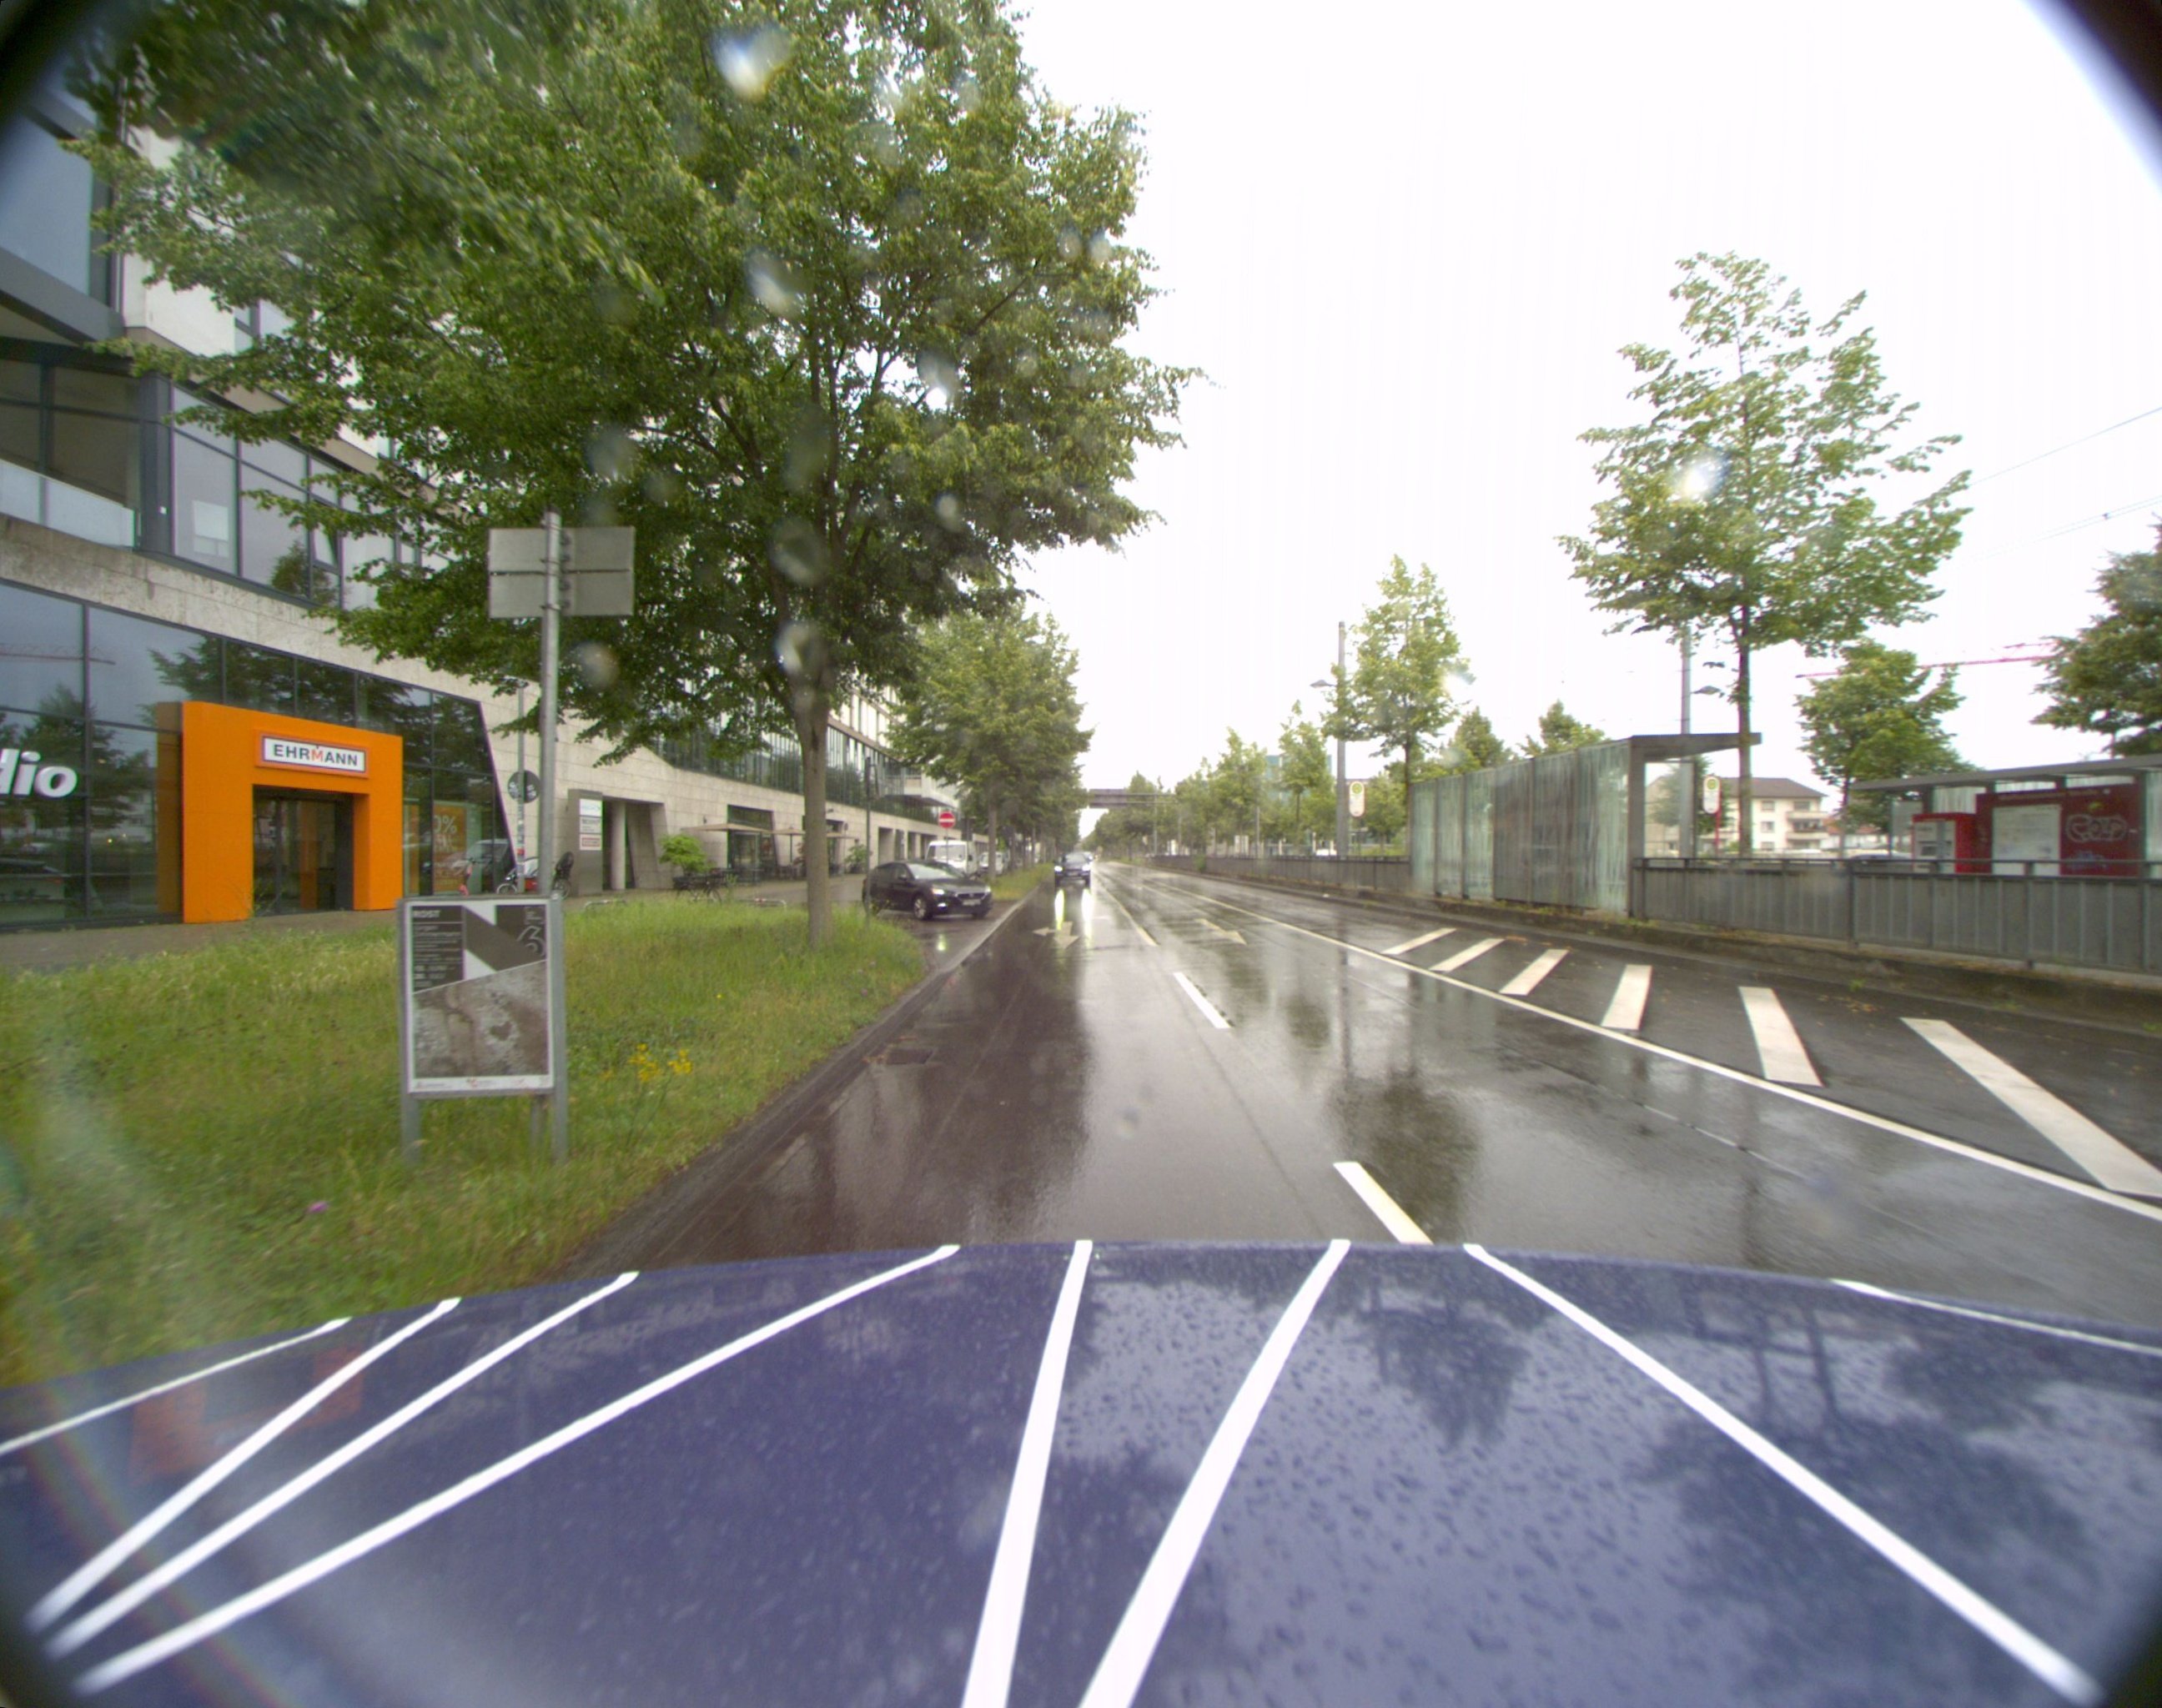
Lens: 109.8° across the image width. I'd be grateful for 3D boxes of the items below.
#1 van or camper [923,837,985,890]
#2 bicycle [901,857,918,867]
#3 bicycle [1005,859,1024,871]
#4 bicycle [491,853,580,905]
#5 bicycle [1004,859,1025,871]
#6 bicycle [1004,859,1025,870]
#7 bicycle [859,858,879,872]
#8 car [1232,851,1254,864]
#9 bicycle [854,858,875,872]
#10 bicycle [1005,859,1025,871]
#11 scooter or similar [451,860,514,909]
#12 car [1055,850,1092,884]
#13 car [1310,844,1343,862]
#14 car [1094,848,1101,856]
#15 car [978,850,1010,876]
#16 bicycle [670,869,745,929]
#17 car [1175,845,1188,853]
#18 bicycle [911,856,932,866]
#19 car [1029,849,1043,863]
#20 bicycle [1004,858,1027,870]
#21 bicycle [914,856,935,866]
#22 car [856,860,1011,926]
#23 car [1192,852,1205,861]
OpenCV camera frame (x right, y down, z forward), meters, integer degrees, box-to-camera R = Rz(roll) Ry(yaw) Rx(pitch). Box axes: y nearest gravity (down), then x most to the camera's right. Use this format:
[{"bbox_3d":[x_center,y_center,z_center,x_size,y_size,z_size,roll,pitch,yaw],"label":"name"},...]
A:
[{"bbox_3d":[-5.897,0.382,36.046,2.031,2.279,5.459,-1,1,-1],"label":"van or camper"},{"bbox_3d":[-16.267,0.724,72.119,1.657,0.940,0.347,1,1,19],"label":"bicycle"},{"bbox_3d":[-5.768,0.963,66.108,1.649,0.940,0.395,-2,1,-4],"label":"bicycle"},{"bbox_3d":[-15.528,0.688,21.741,0.734,1.394,2.425,1,0,1],"label":"bicycle"},{"bbox_3d":[-5.850,0.938,66.632,1.793,0.940,0.395,-2,1,-4],"label":"bicycle"},{"bbox_3d":[-5.888,0.929,67.311,1.862,0.940,0.395,-2,1,-4],"label":"bicycle"},{"bbox_3d":[-15.176,0.783,54.275,0.396,0.940,2.024,-4,2,-45],"label":"bicycle"},{"bbox_3d":[22.883,0.474,107.594,1.999,1.736,3.998,-2,1,-2],"label":"car"},{"bbox_3d":[-15.244,0.796,53.476,0.396,0.940,2.024,-4,2,-45],"label":"bicycle"},{"bbox_3d":[-5.689,0.981,65.376,1.699,0.940,0.395,-2,1,-4],"label":"bicycle"},{"bbox_3d":[-15.719,0.788,19.983,0.342,1.221,1.242,-2,1,19],"label":"scooter or similar"},{"bbox_3d":[-0.328,0.647,40.533,1.816,1.603,3.999,-2,1,1],"label":"car"},{"bbox_3d":[25.228,-0.096,78.204,1.999,1.736,3.998,-2,1,-2],"label":"car"},{"bbox_3d":[4.806,-0.468,223.791,1.998,2.232,3.999,-2,1,1],"label":"car"},{"bbox_3d":[-6.178,0.574,54.549,1.746,1.749,4.847,-1,1,-1],"label":"car"},{"bbox_3d":[-8.695,1.033,17.663,1.843,1.338,0.533,-1,-1,26],"label":"bicycle"},{"bbox_3d":[21.614,-1.040,163.057,1.999,1.736,3.998,-2,1,-2],"label":"car"},{"bbox_3d":[-15.922,0.694,75.930,2.029,0.940,0.395,1,1,-4],"label":"bicycle"},{"bbox_3d":[-6.160,0.270,104.173,1.659,1.711,3.999,-2,1,-1],"label":"car"},{"bbox_3d":[-5.948,0.910,68.803,2.040,0.940,0.395,-2,1,-4],"label":"bicycle"},{"bbox_3d":[-15.880,0.690,77.231,2.029,0.940,0.395,1,1,-4],"label":"bicycle"},{"bbox_3d":[-3.793,0.874,18.987,1.836,1.412,4.333,-2,1,-42],"label":"car"},{"bbox_3d":[25.627,0.488,166.188,1.999,1.736,3.998,-2,1,-2],"label":"car"}]
